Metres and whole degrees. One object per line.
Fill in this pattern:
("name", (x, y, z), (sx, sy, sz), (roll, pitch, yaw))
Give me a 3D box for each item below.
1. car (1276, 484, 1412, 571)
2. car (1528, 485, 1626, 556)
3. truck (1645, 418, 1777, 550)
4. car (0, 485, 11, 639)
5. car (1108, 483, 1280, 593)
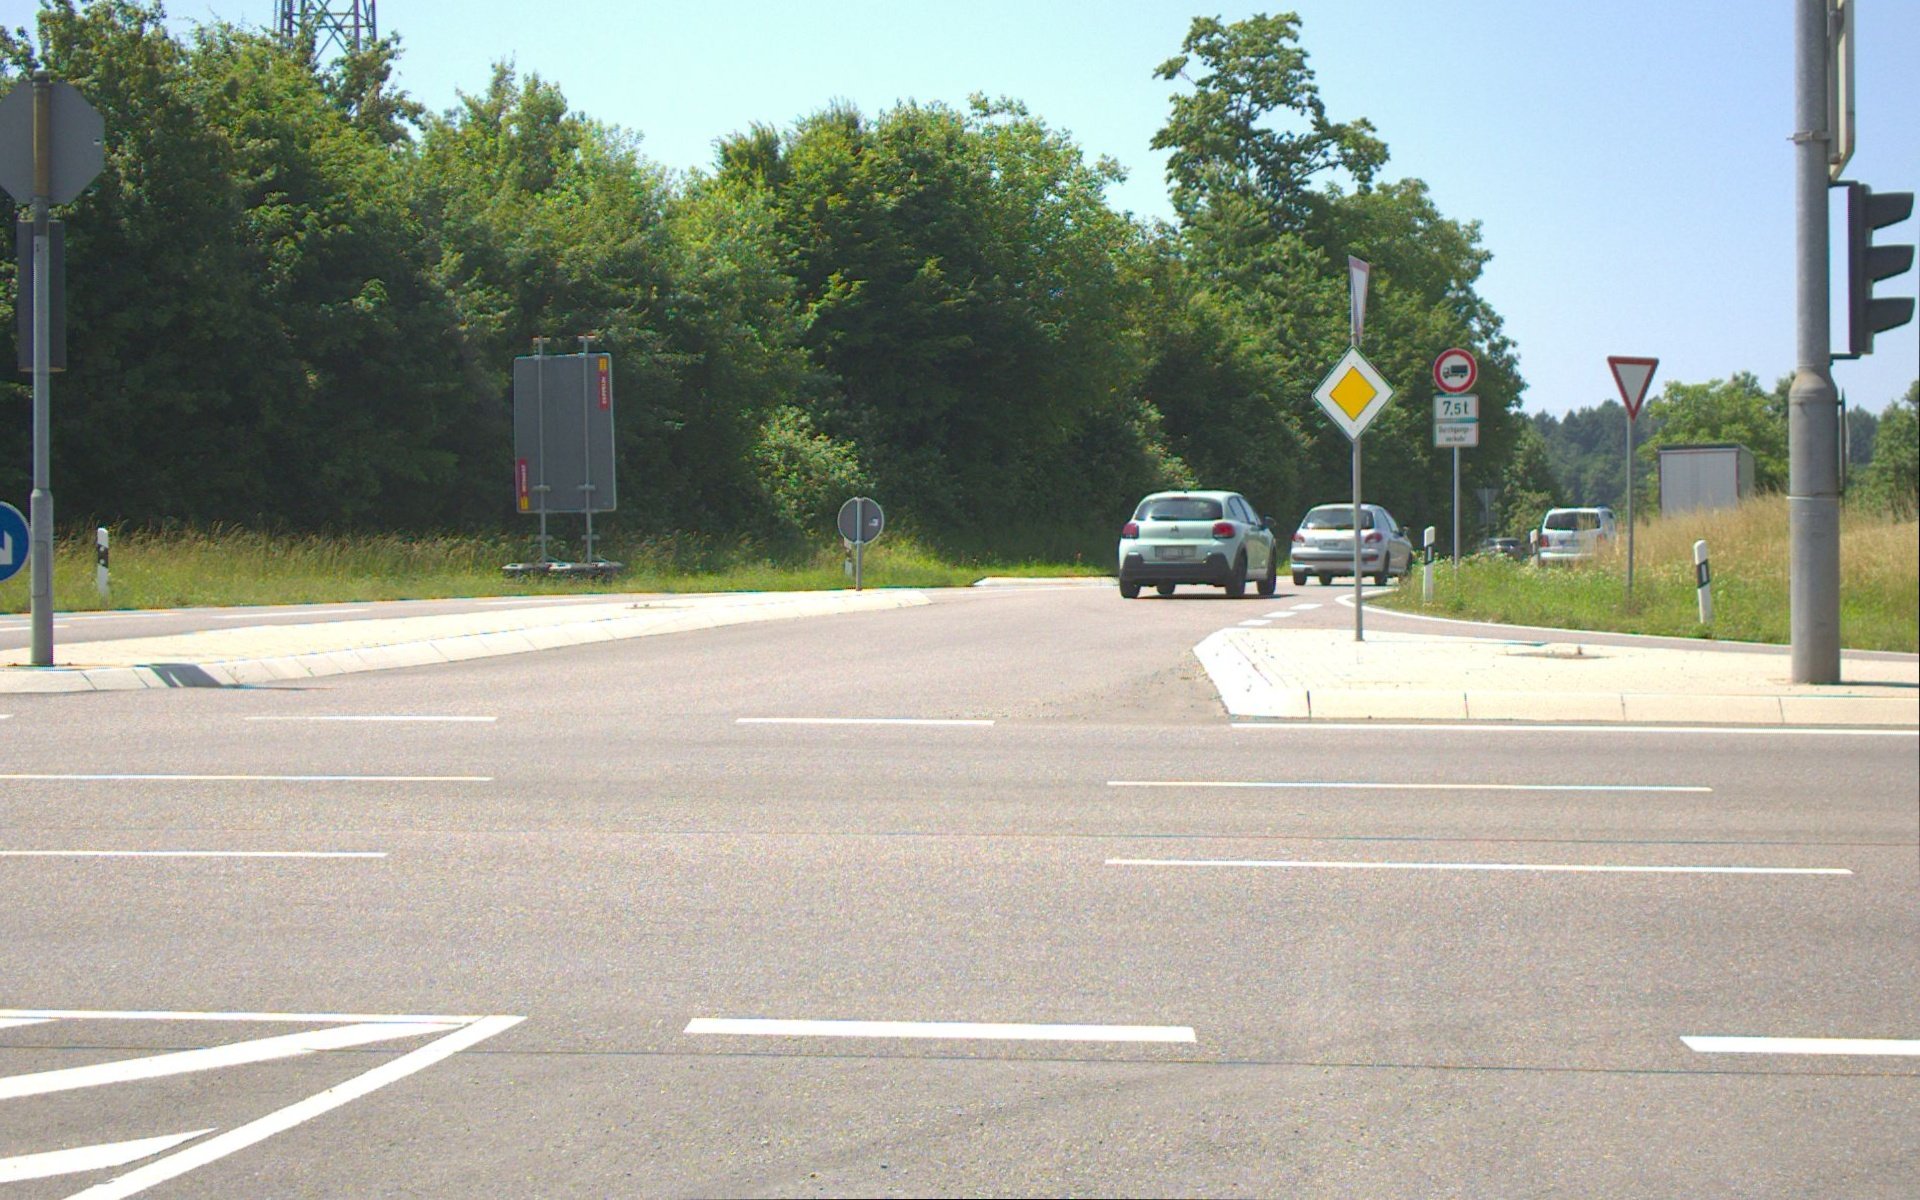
("car", (6.738, -1.296, 60.077), (1.814, 1.408, 3.781), (1, 3, 15))
("car", (14.959, -1.939, 83.180), (1.814, 1.619, 4.057), (0, 3, 18))
("truck", (25.689, -3.888, 116.869), (3.128, 4.158, 16.674), (1, 2, 17))
("car", (-9.698, -0.282, 29.156), (1.566, 1.366, 3.529), (1, 3, 16))
("car", (3.333, -0.906, 48.377), (1.730, 1.399, 3.985), (2, 3, 14))
